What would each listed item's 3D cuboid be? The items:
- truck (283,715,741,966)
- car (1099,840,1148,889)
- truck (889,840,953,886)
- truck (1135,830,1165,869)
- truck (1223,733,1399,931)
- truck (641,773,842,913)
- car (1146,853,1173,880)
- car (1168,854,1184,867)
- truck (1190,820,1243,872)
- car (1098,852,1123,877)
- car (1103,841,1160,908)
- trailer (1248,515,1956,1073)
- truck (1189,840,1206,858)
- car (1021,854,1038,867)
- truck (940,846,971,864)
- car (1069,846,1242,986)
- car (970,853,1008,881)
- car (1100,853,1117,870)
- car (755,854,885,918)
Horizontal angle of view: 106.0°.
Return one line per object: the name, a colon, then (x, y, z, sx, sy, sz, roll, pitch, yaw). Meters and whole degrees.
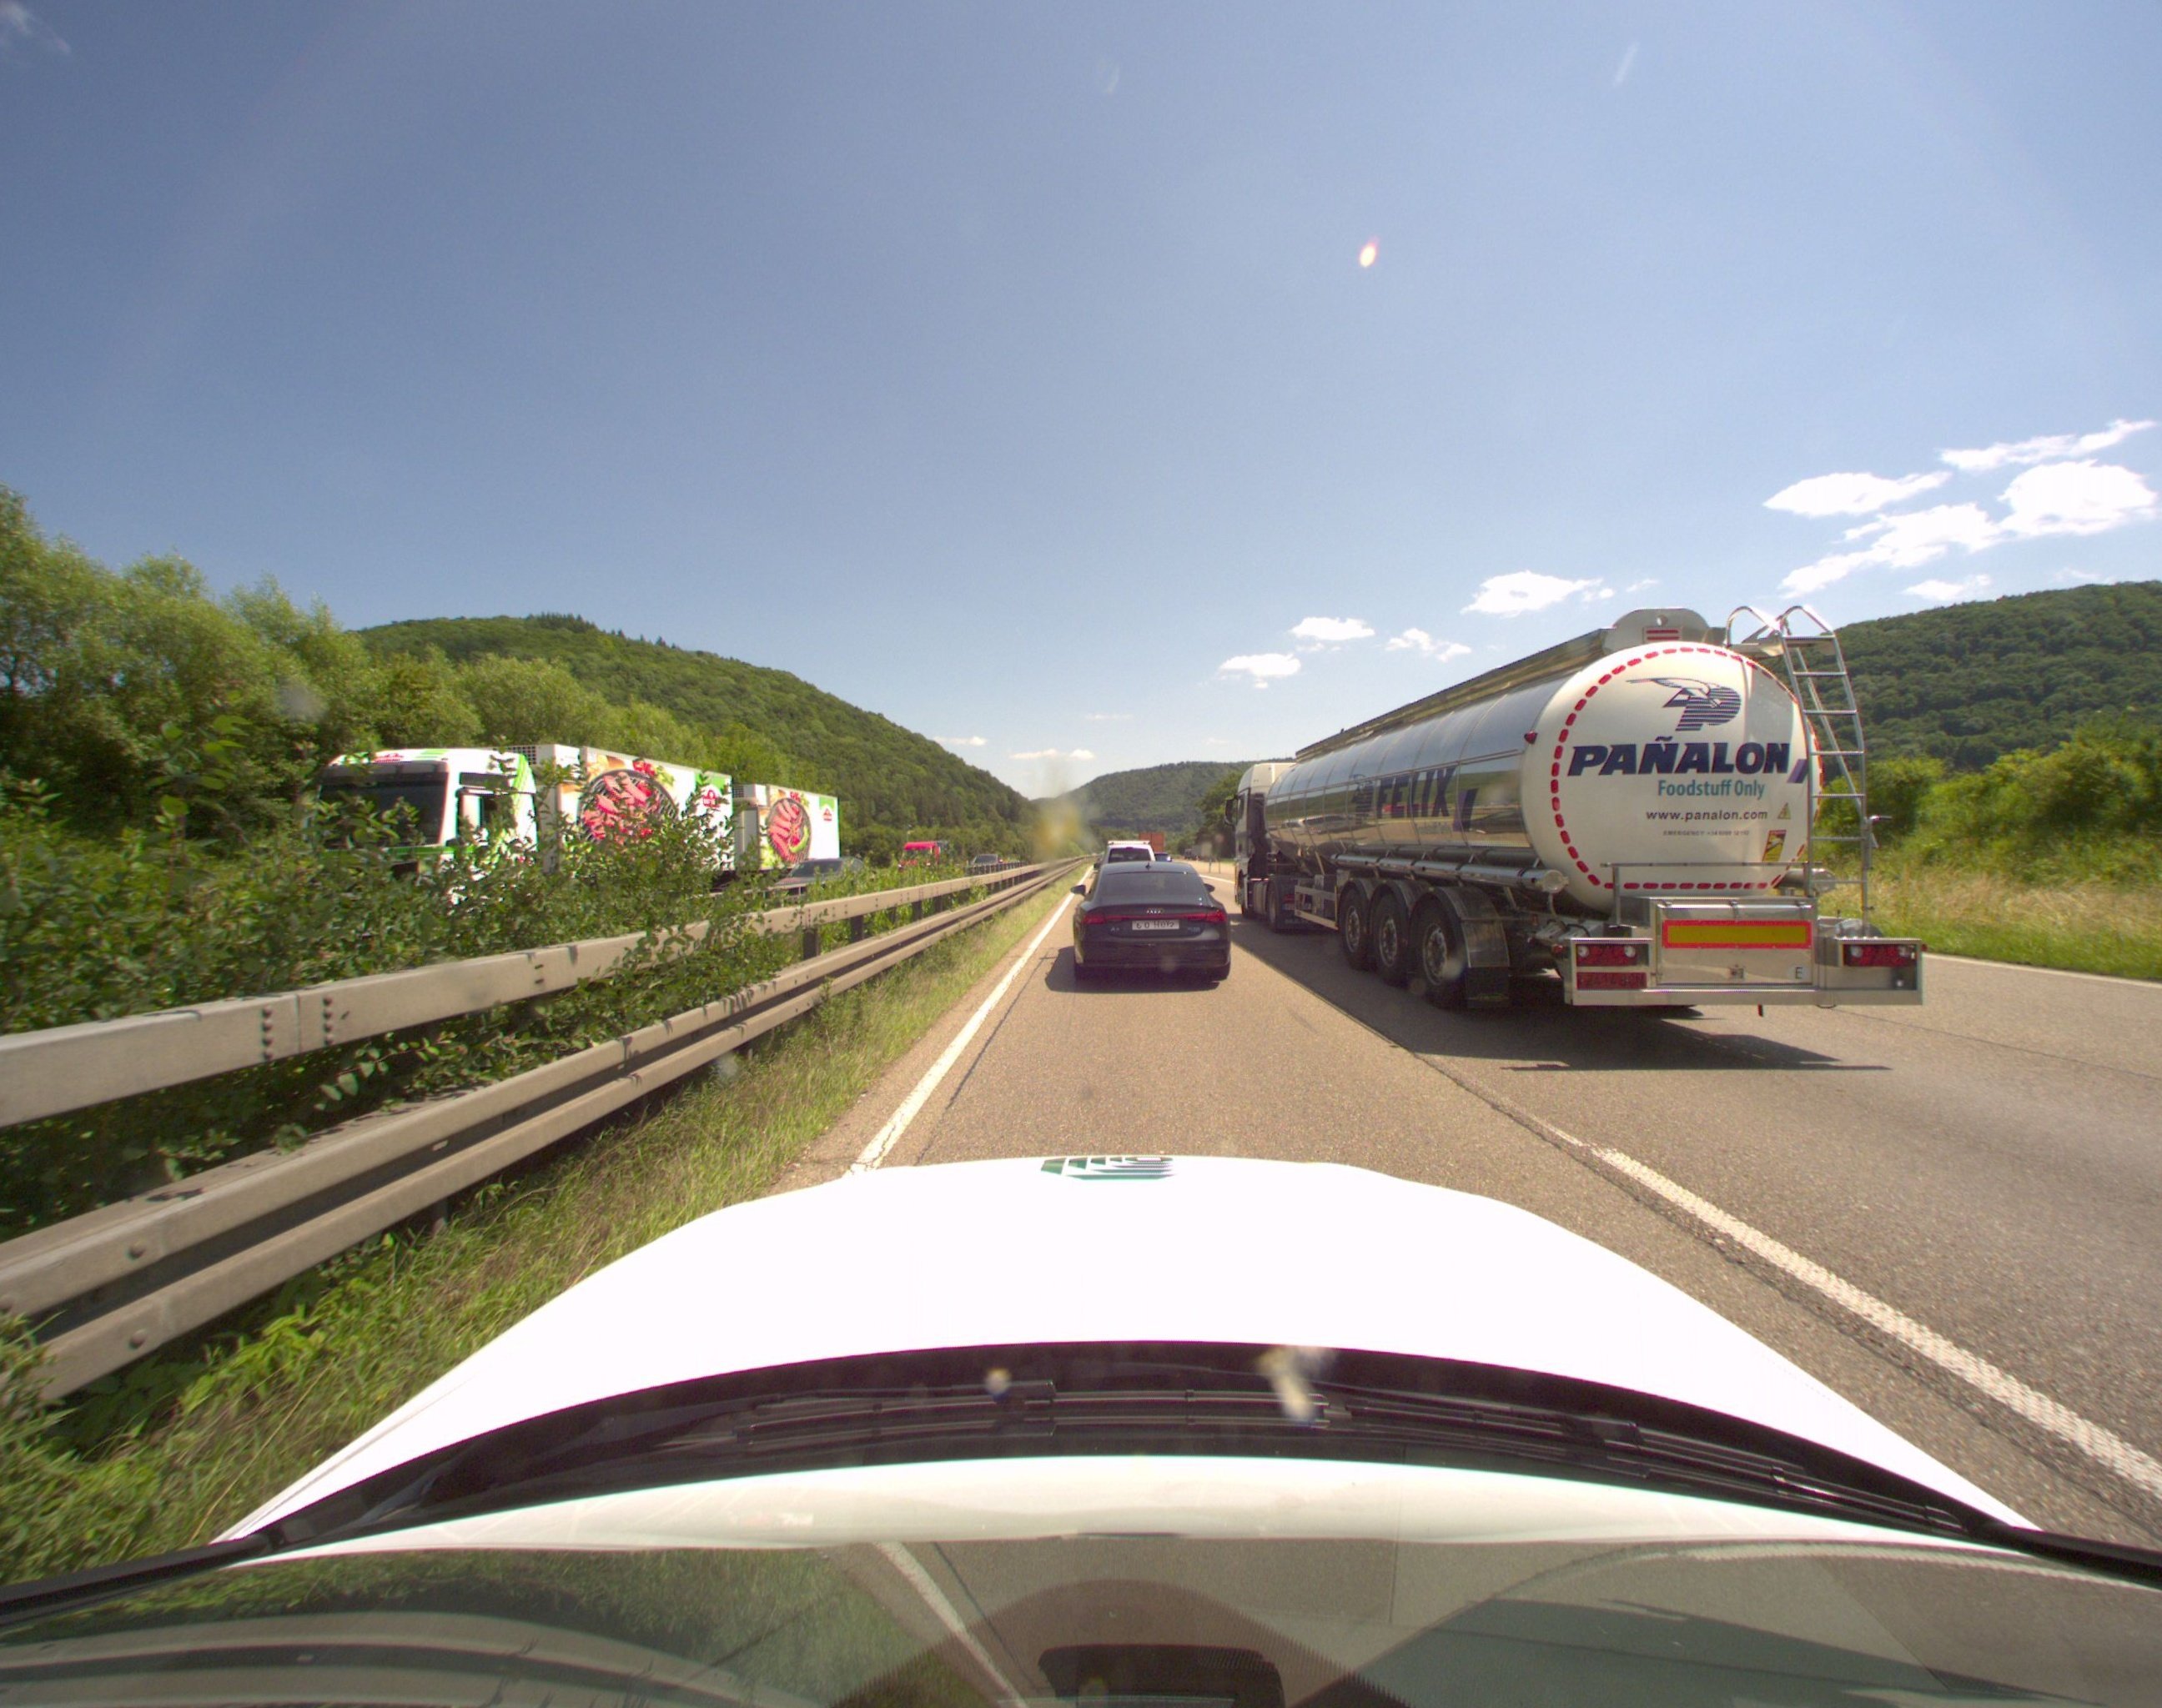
truck: (-11.300, -0.224, 18.214, 2.859, 4.006, 10.173, -1, 0, 1)
car: (1.792, 0.425, 35.239, 1.986, 2.013, 4.002, -1, 0, 2)
truck: (-9.760, 0.492, 50.547, 2.288, 2.588, 7.968, -1, 0, 0)
truck: (7.759, -0.500, 93.324, 2.806, 4.003, 14.965, -1, 0, 3)
truck: (4.863, -0.434, 18.213, 2.502, 3.758, 5.246, -1, 0, 1)
truck: (-11.064, -0.335, 27.879, 2.859, 3.980, 9.034, -1, 0, 1)
car: (6.206, 0.983, 64.742, 1.985, 2.002, 4.003, -2, 0, 3)
car: (11.748, 0.747, 101.134, 1.740, 1.530, 4.004, -1, 0, 3)
truck: (11.494, -0.654, 70.618, 2.806, 4.003, 14.965, -1, 0, 3)
car: (2.518, 0.869, 70.228, 1.986, 2.013, 4.001, -2, 0, 1)
car: (1.457, 0.570, 24.598, 1.570, 1.833, 4.002, -1, 0, 2)
trailer: (4.729, -0.418, 11.440, 2.529, 3.735, 11.894, -1, 0, 1)
truck: (29.971, -1.174, 209.554, 3.770, 4.414, 14.996, -1, 0, 10)
car: (-6.913, 0.828, 109.817, 1.915, 1.621, 4.563, -1, 0, 2)
truck: (-20.242, 0.221, 131.616, 3.569, 2.695, 8.448, -1, 0, 0)
car: (0.781, 0.664, 10.892, 1.844, 1.488, 4.080, -1, 0, -2)
car: (-5.606, 0.777, 49.951, 1.771, 1.599, 4.000, -2, 0, 1)
car: (2.850, 0.748, 84.266, 1.705, 1.618, 4.003, -2, 0, 3)
car: (-7.380, 0.827, 23.659, 1.986, 1.641, 5.034, -1, 0, 2)
